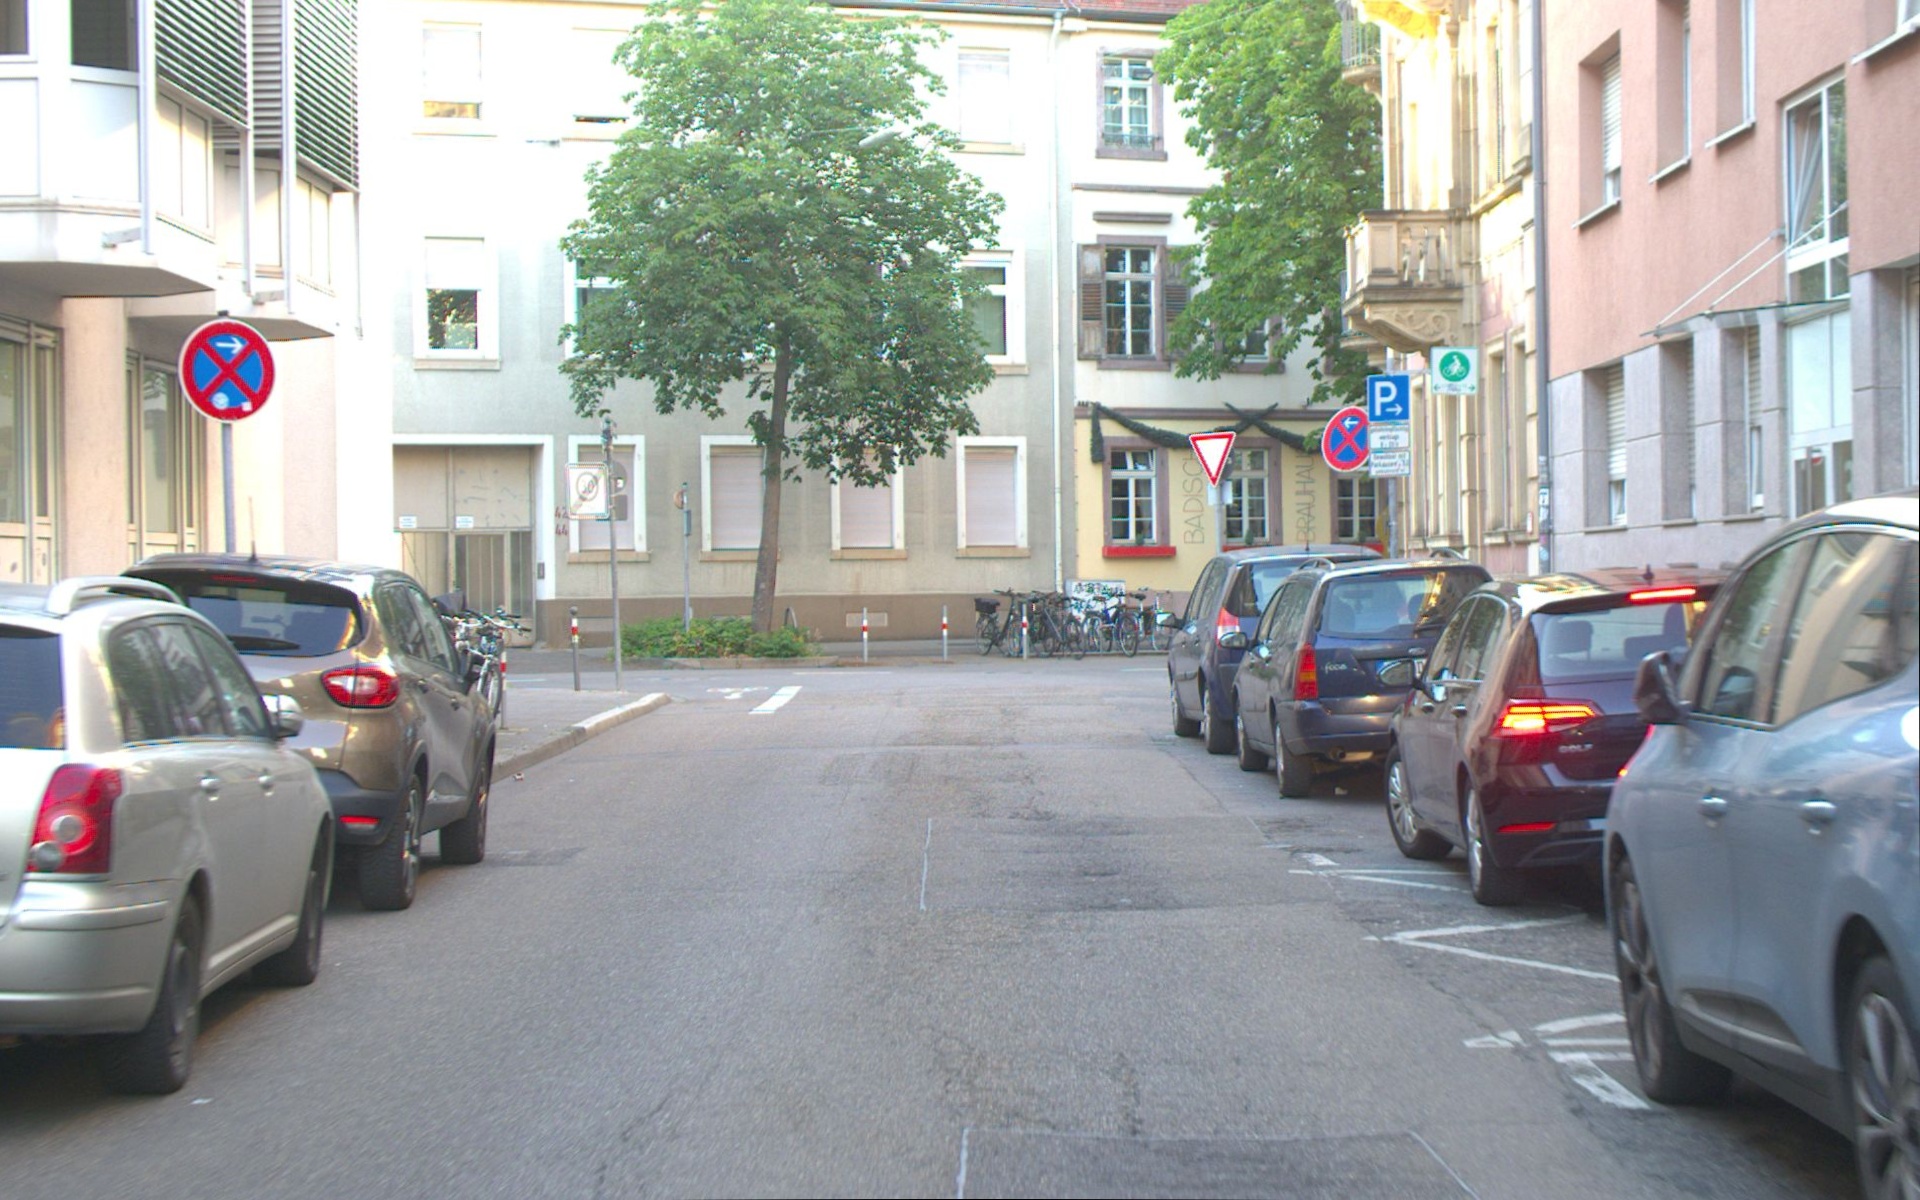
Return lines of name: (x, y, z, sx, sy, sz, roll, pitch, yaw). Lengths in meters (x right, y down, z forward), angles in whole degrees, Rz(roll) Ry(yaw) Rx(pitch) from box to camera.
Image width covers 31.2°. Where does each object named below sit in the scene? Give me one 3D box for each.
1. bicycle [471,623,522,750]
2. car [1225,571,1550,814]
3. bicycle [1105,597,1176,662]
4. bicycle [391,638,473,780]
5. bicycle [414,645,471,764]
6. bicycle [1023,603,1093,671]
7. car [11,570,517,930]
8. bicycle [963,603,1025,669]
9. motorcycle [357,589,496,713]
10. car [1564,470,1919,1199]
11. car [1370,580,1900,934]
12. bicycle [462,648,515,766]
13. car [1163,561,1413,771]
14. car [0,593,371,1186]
bicycle: (-4.210, 0.771, 31.246, 0.400, 1.098, 1.813, 0, 0, -6)
car: (2.828, 0.564, 23.552, 1.689, 1.508, 4.283, 0, 0, 0)
bicycle: (3.239, 0.524, 61.991, 0.420, 1.142, 2.043, -1, 0, -23)
bicycle: (-4.113, 0.833, 26.869, 0.307, 1.039, 1.813, -1, 0, 1)
bicycle: (-4.328, 0.856, 28.792, 0.307, 0.929, 1.813, 0, 0, -3)
bicycle: (1.677, 0.631, 59.371, 0.445, 1.142, 2.043, -1, 0, -21)
car: (-3.314, 0.647, 17.118, 1.790, 1.571, 4.071, 0, 0, -2)
bicycle: (0.586, 0.623, 60.934, 0.445, 1.142, 2.043, -1, 0, -18)
motorcycle: (-6.862, 0.647, 44.148, 0.667, 1.550, 2.161, -1, 0, -42)
car: (2.622, 0.614, 8.046, 1.689, 1.735, 4.109, 0, 0, 0)
car: (3.025, 0.636, 16.219, 1.689, 1.453, 4.132, 0, 0, 0)
bicycle: (-3.988, 0.888, 29.124, 0.307, 0.929, 1.813, 0, 0, -3)
car: (2.656, 0.499, 28.599, 1.689, 1.619, 4.054, 0, 0, 0)
car: (-3.140, 0.756, 11.189, 1.790, 1.534, 4.434, 0, 0, -2)
